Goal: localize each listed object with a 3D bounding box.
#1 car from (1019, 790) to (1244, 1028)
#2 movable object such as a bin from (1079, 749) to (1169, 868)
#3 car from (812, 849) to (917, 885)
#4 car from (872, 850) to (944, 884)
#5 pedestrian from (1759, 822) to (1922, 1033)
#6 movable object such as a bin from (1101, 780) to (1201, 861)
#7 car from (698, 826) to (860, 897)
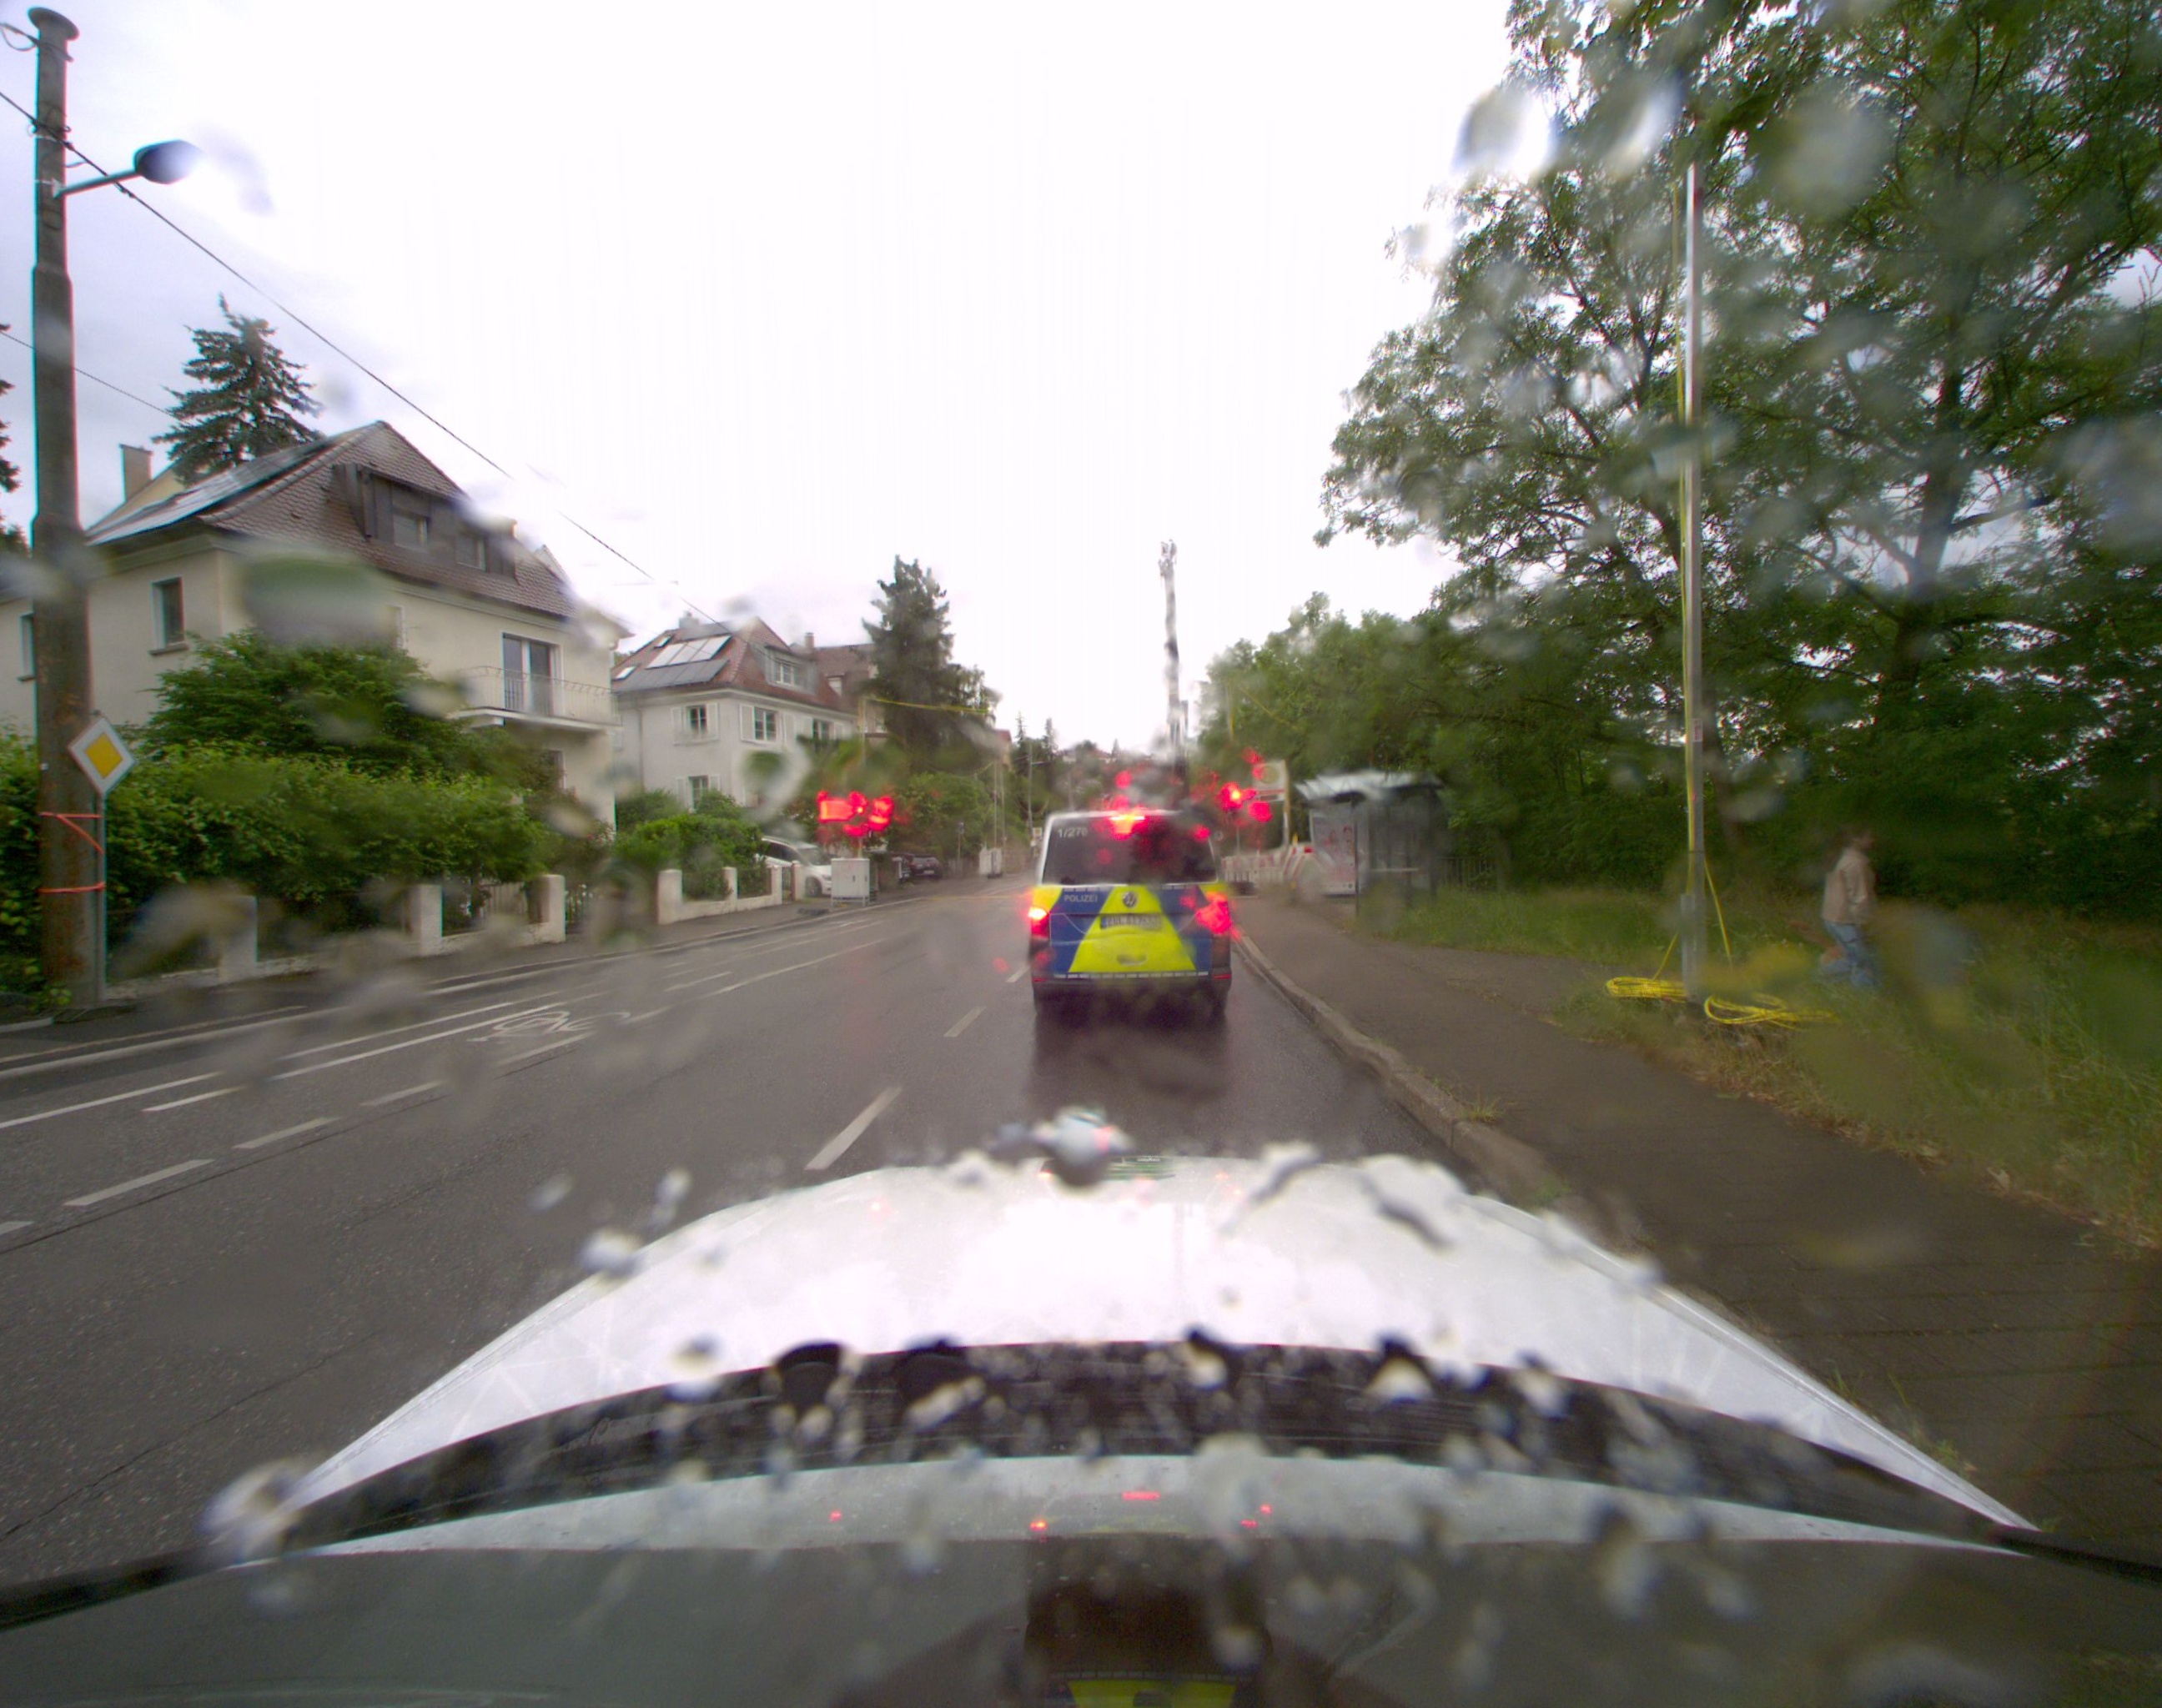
[{"bbox_3d":[0.495,0.484,9.156,1.901,2.010,4.441,0,-1,2],"label":"car"},{"bbox_3d":[1.788,-1.674,31.732,2.862,4.170,4.499,-2,1,9],"label":"movable object such as a bin"},{"bbox_3d":[-9.366,0.568,35.349,3.958,1.525,1.948,-1,-1,15],"label":"car"},{"bbox_3d":[-8.142,0.574,38.082,1.795,1.525,3.955,0,0,-37],"label":"car"},{"bbox_3d":[6.181,0.564,6.680,0.743,1.604,0.736,-1,-1,23],"label":"pedestrian"},{"bbox_3d":[4.924,-2.163,55.939,3.646,5.066,7.209,-3,-1,34],"label":"movable object such as a bin"},{"bbox_3d":[-10.382,0.206,28.083,4.927,1.616,1.872,9,4,15],"label":"car"}]
